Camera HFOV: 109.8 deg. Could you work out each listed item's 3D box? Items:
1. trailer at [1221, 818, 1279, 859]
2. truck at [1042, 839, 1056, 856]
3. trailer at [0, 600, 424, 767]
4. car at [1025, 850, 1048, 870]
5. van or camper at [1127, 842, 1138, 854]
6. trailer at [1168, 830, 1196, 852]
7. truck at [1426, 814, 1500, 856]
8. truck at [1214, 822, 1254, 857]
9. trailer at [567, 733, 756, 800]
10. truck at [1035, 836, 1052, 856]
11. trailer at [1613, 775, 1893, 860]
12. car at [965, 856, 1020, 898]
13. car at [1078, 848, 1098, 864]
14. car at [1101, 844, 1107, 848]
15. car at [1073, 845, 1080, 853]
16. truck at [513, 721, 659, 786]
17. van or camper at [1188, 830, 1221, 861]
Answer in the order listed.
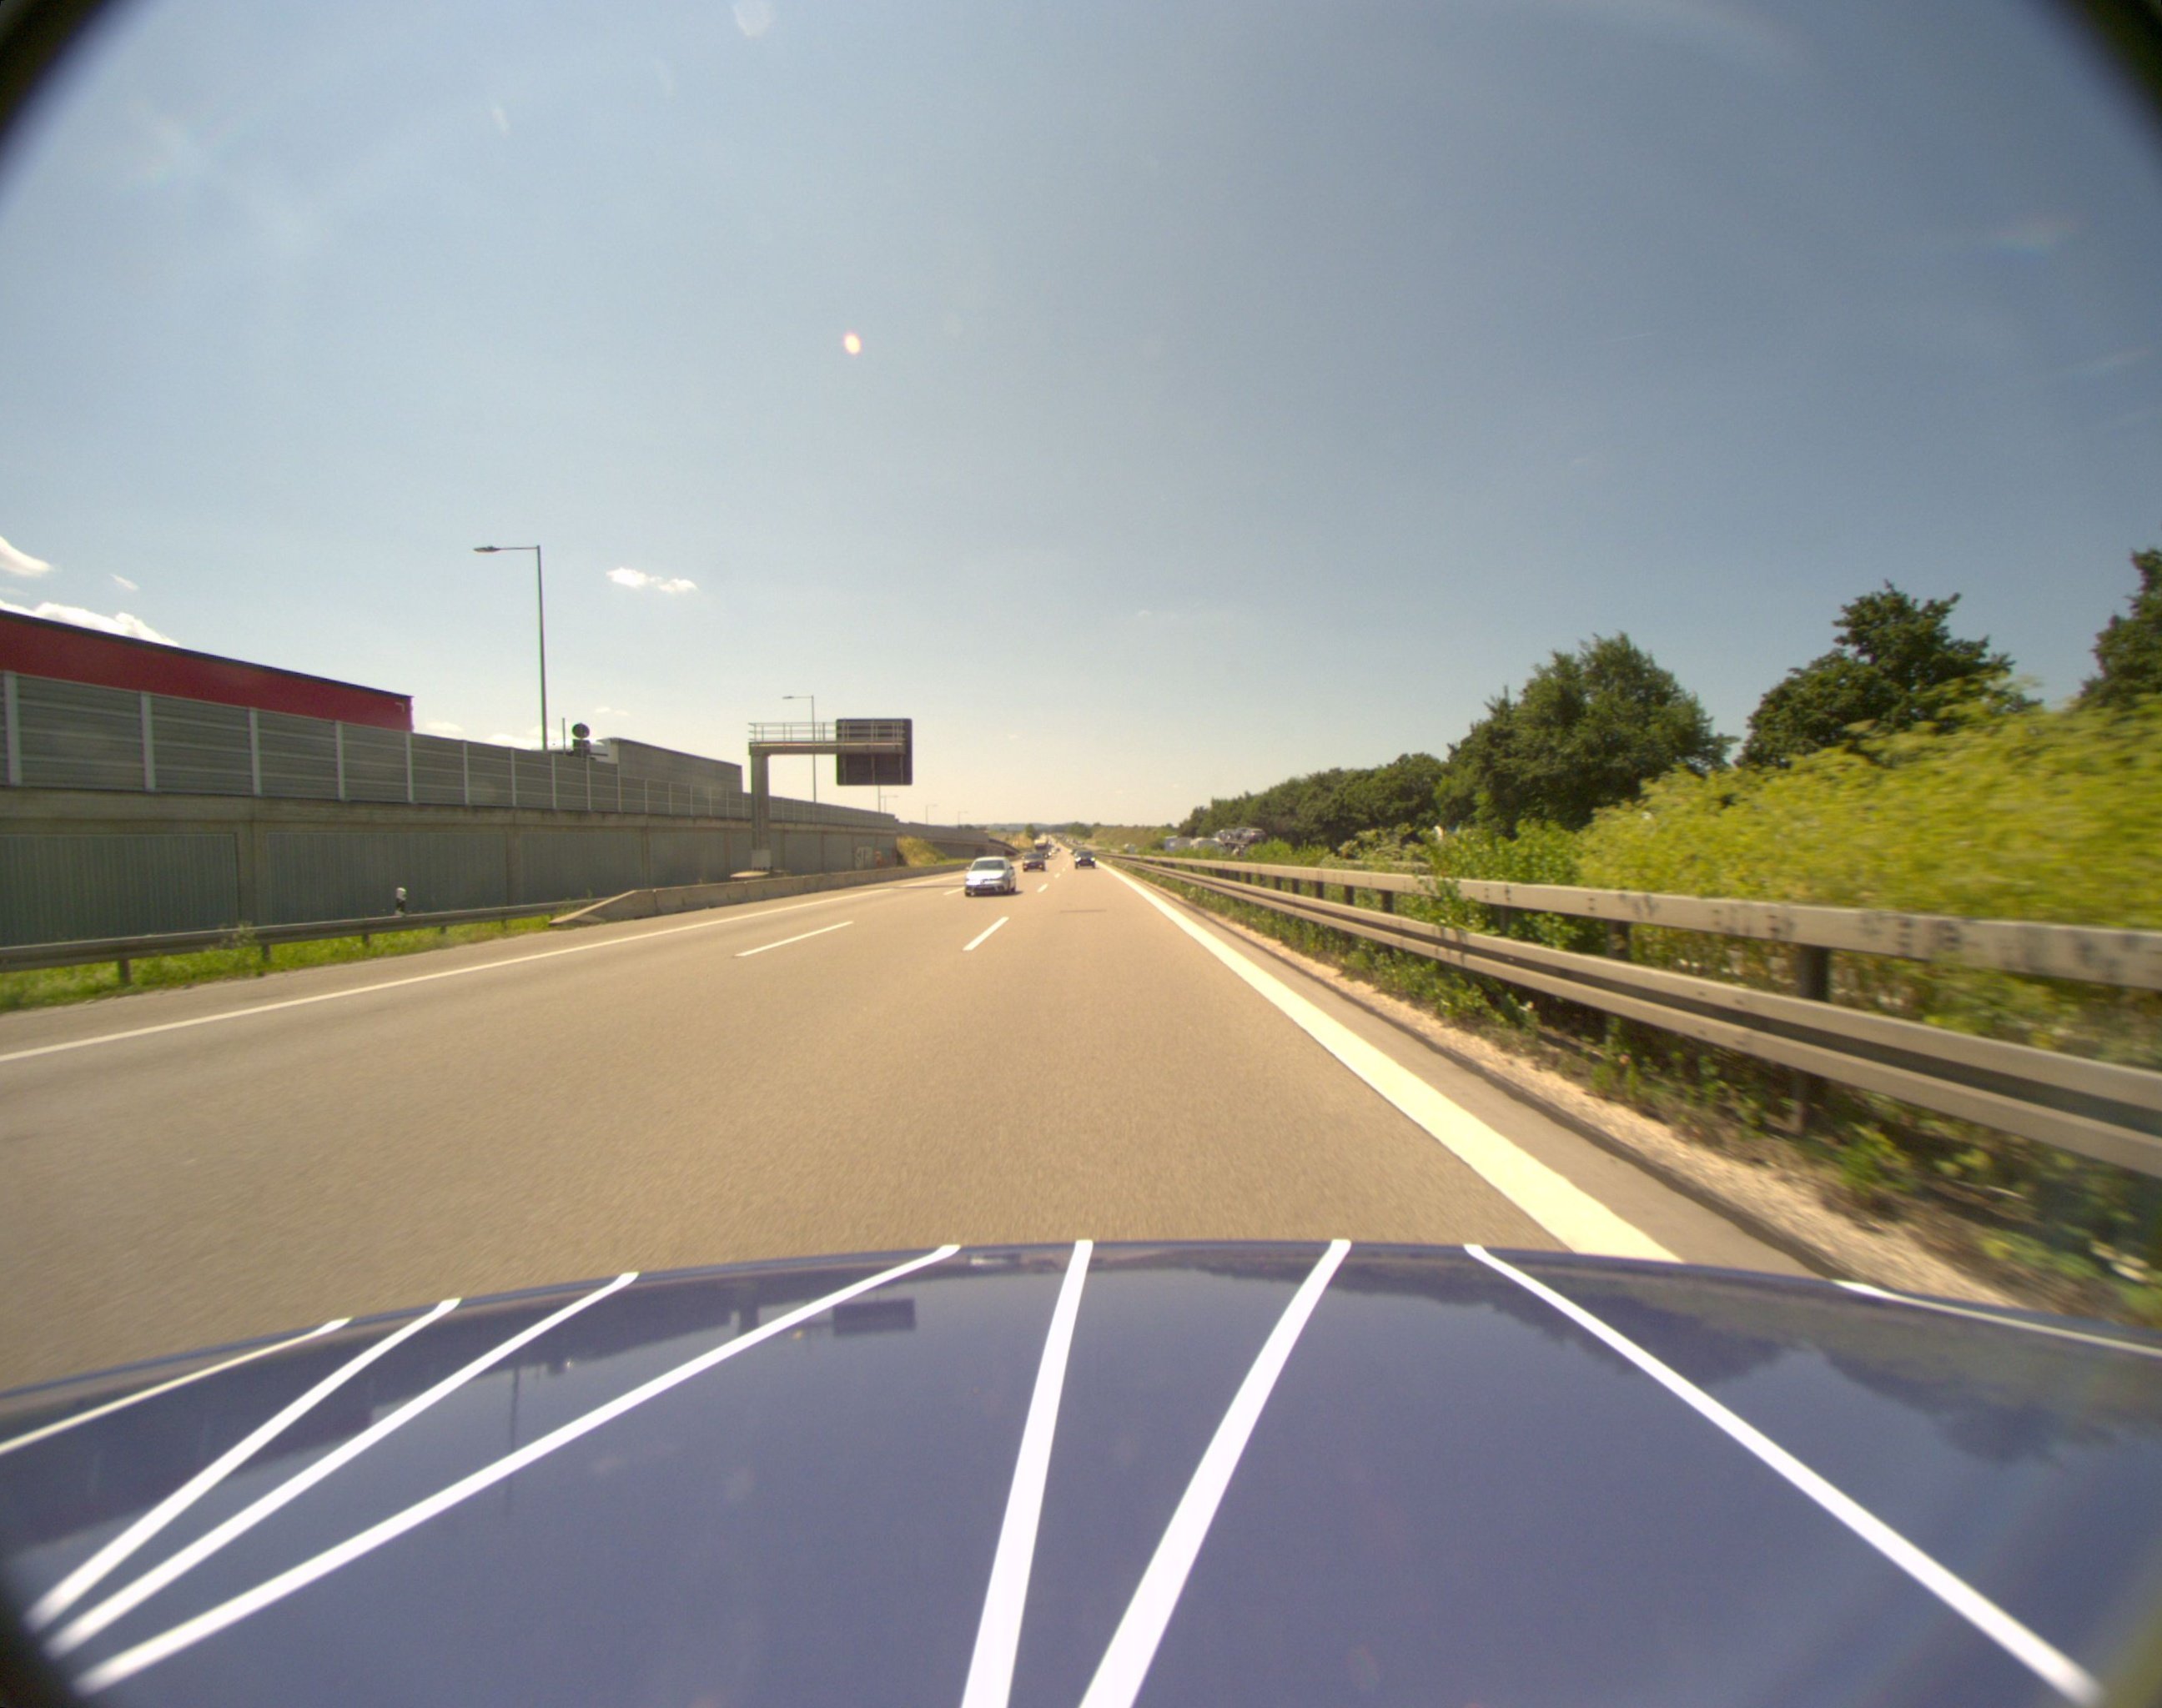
[{"bbox_3d":[17.666,-1.604,80.666,2.692,3.825,15.177,-2,1,0],"label":"trailer"},{"bbox_3d":[-8.360,-1.688,195.719,3.368,3.976,11.733,-2,1,-3],"label":"truck"},{"bbox_3d":[-22.496,-3.840,17.459,2.726,2.211,14.016,-2,1,-1],"label":"trailer"},{"bbox_3d":[-3.772,0.495,65.262,1.751,1.559,3.999,-2,1,-1],"label":"car"},{"bbox_3d":[13.011,-1.487,192.604,2.276,2.952,6.952,1,1,0],"label":"van or camper"},{"bbox_3d":[17.937,-2.317,136.128,2.849,3.713,14.527,-2,1,0],"label":"trailer"},{"bbox_3d":[35.712,-1.707,71.435,2.561,3.613,8.394,-2,1,-1],"label":"truck"},{"bbox_3d":[17.674,-1.689,88.308,2.683,3.798,9.151,-2,1,0],"label":"truck"},{"bbox_3d":[-22.779,-4.626,42.898,2.726,2.211,14.523,-2,1,-1],"label":"trailer"},{"bbox_3d":[-7.887,-1.686,159.674,3.368,4.038,11.732,-3,1,-3],"label":"truck"},{"bbox_3d":[35.833,-1.792,41.996,2.775,3.757,14.408,-2,1,0],"label":"trailer"},{"bbox_3d":[-3.348,0.831,29.378,1.634,1.381,3.999,-2,1,-1],"label":"car"},{"bbox_3d":[0.603,0.157,69.608,1.751,1.439,3.999,-2,1,-1],"label":"car"},{"bbox_3d":[7.720,-2.561,251.781,1.804,1.303,3.999,-2,1,0],"label":"car"},{"bbox_3d":[-1.223,-1.480,211.941,1.998,2.002,3.999,-2,1,1],"label":"car"},{"bbox_3d":[-22.647,-4.520,35.202,2.730,2.218,6.035,-2,1,-1],"label":"truck"},{"bbox_3d":[13.666,-0.955,84.481,2.530,3.249,7.373,0,1,0],"label":"van or camper"}]
